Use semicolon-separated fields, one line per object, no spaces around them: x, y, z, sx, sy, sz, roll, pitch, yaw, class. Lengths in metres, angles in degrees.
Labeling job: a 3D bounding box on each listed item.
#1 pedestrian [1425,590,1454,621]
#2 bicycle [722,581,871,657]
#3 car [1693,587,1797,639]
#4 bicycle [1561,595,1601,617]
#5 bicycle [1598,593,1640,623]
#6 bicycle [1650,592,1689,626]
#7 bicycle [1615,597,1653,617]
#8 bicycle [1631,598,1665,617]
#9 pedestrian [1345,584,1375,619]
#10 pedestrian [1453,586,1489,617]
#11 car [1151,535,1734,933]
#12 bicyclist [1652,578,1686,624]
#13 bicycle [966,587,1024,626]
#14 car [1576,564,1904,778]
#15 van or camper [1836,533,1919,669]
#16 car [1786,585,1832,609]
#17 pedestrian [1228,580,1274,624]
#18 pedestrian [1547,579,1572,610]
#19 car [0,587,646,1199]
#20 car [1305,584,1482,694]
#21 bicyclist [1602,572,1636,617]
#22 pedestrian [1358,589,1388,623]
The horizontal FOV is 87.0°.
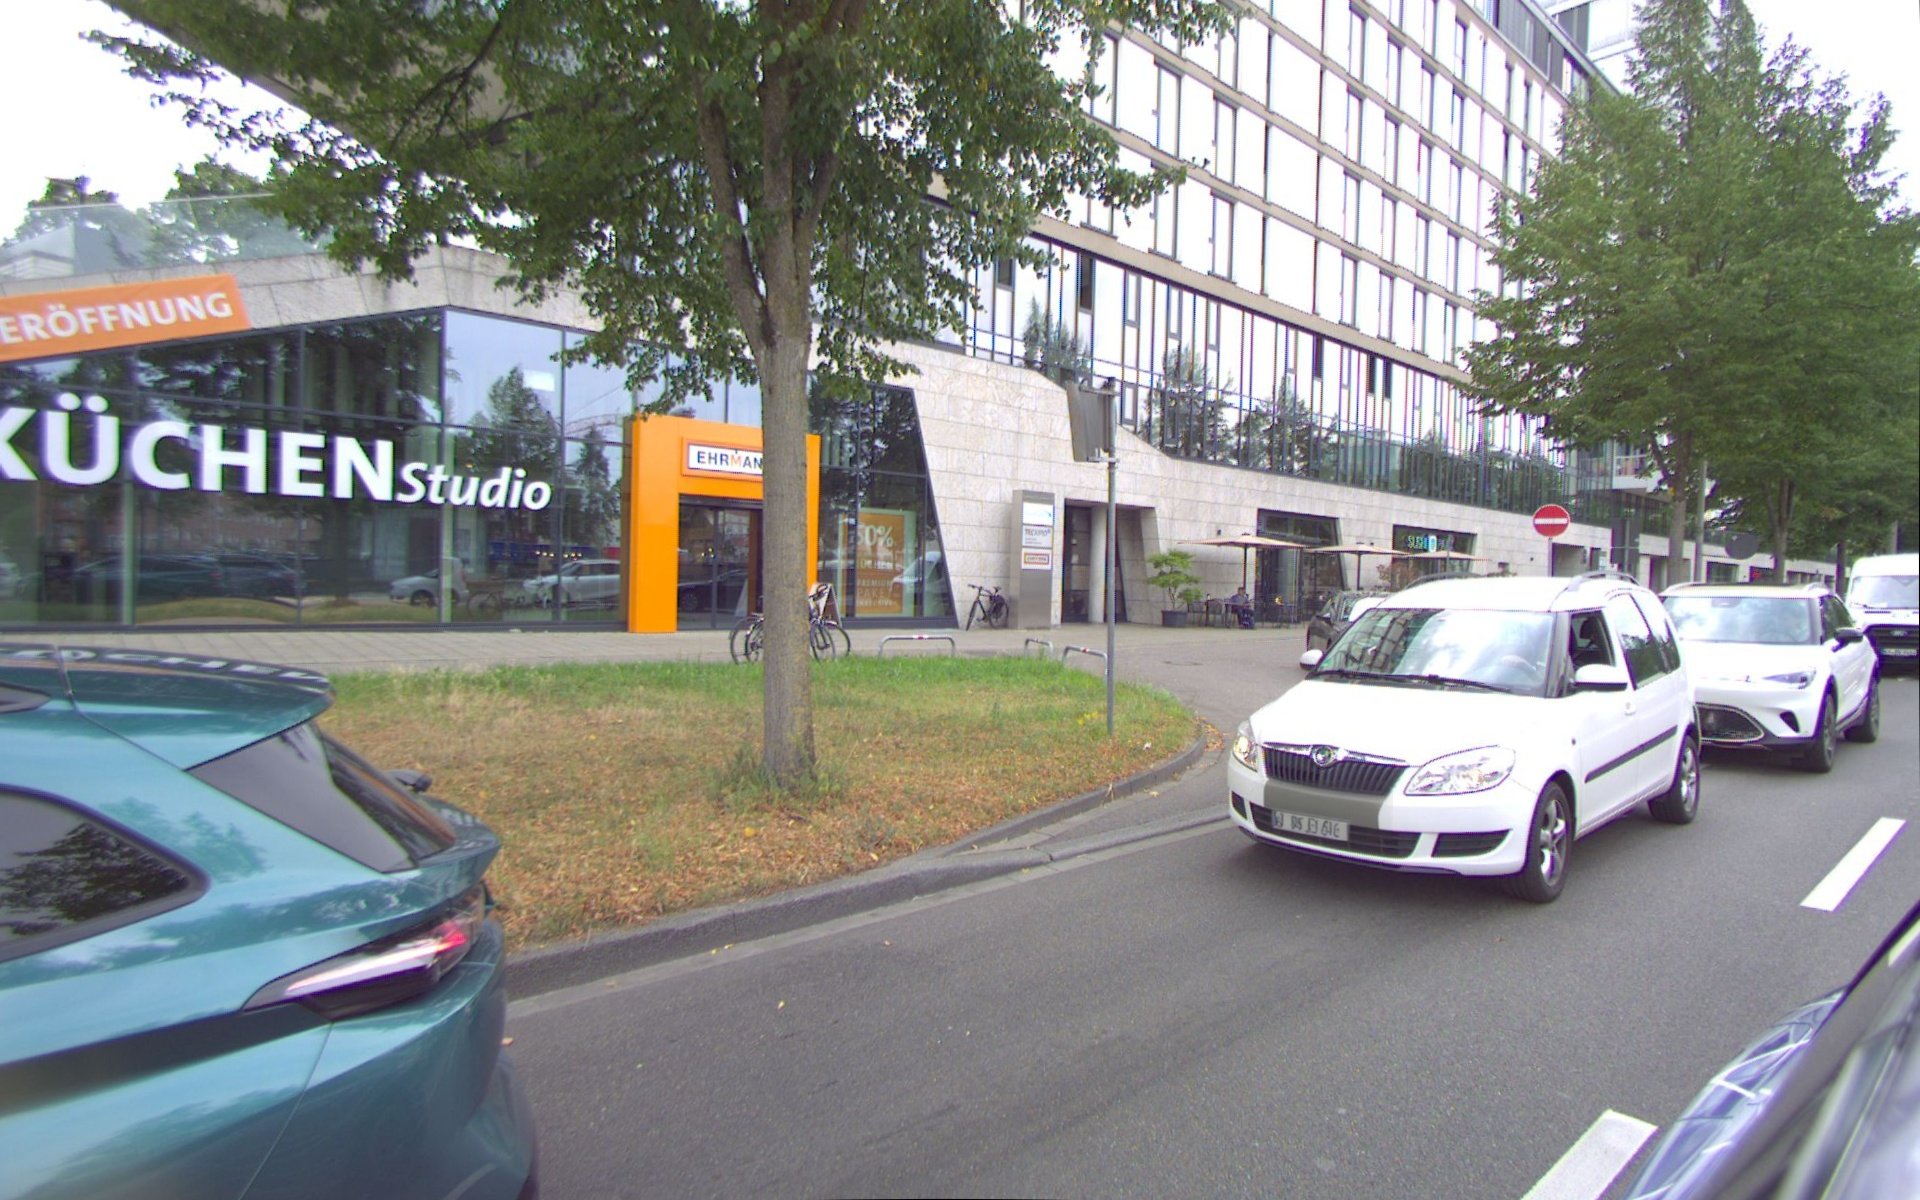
19.127;0.206;40.386;0.743;1.207;0.723;1;1;-19;pedestrian
-2.236;0.244;14.092;0.630;0.968;2.074;2;2;44;bicycle
26.033;0.402;33.504;4.514;1.571;1.941;1;1;-42;car
31.151;0.290;50.777;1.584;1.039;0.606;3;2;23;bicycle
24.500;0.302;37.605;1.970;1.055;0.675;0;1;-38;bicycle
25.312;0.334;36.096;1.972;1.157;0.674;1;2;-42;bicycle
36.745;0.370;55.164;0.524;1.039;1.599;0;2;-43;bicycle
39.450;0.412;58.036;0.524;1.039;1.530;0;2;-43;bicycle
14.340;0.051;36.310;0.746;1.207;0.720;1;1;-42;pedestrian
20.587;0.054;40.785;1.083;1.207;0.776;1;1;-26;pedestrian
3.144;0.542;6.232;3.953;1.677;1.782;0;2;-41;car
25.284;0.032;36.087;0.973;1.601;0.725;0;3;-43;bicyclist
0.878;0.158;25.137;1.467;0.921;0.519;0;1;-41;bicycle
7.797;0.546;9.989;3.952;1.677;1.782;0;2;-41;car
20.107;0.023;20.996;6.230;2.540;2.181;0;0;-42;van or camper
61.820;-0.215;73.669;4.166;1.607;1.862;0;4;-41;car
8.550;0.063;29.744;0.932;1.243;0.900;1;1;-36;pedestrian
28.540;-0.269;48.204;0.707;1.424;0.759;1;1;-33;pedestrian
-2.655;0.699;0.835;4.239;1.450;1.789;0;0;-44;car
7.005;0.503;16.887;1.919;1.494;4.850;2;1;14;car
24.422;-0.210;37.504;0.971;1.601;0.727;0;3;-38;bicyclist
15.062;0.208;36.939;0.745;1.207;0.720;1;1;-39;pedestrian
